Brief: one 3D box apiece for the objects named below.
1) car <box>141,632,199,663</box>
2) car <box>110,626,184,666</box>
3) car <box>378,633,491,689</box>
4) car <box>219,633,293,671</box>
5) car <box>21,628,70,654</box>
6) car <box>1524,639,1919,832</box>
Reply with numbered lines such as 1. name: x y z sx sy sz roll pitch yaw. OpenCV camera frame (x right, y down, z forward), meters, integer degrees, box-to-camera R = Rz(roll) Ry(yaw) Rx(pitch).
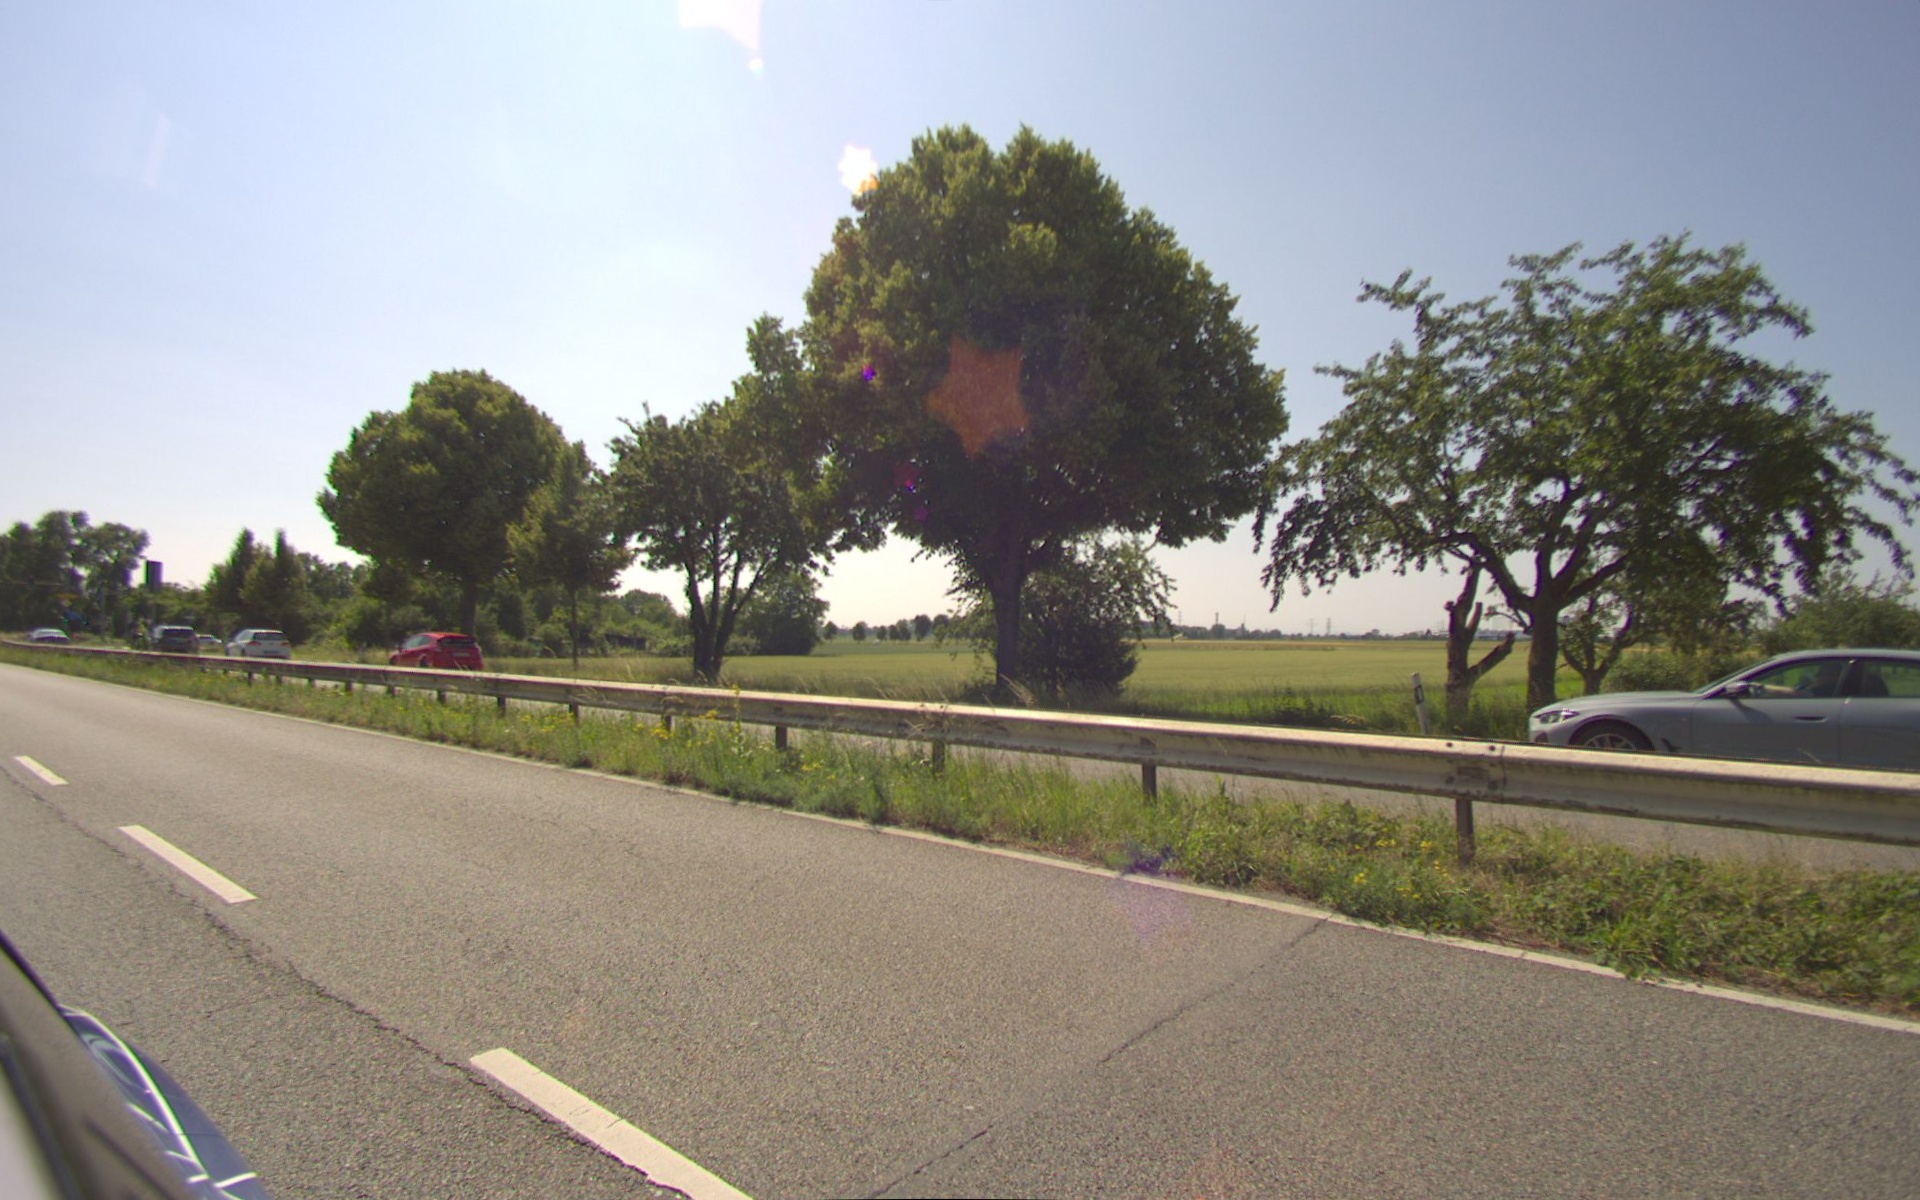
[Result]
1. car: -43.042 2.563 55.109 3.892 1.603 1.742 -2 -3 41
2. car: -34.011 1.911 42.315 3.748 1.603 1.742 -2 -3 41
3. car: -16.286 1.840 31.303 3.892 1.603 1.742 -2 -3 41
4. car: -31.154 2.273 44.754 3.892 1.603 1.742 -2 -3 41
5. car: -56.368 2.523 62.375 3.748 1.603 1.742 -2 -3 41
6. car: 8.263 1.182 9.560 4.860 1.603 1.936 -2 -3 40
